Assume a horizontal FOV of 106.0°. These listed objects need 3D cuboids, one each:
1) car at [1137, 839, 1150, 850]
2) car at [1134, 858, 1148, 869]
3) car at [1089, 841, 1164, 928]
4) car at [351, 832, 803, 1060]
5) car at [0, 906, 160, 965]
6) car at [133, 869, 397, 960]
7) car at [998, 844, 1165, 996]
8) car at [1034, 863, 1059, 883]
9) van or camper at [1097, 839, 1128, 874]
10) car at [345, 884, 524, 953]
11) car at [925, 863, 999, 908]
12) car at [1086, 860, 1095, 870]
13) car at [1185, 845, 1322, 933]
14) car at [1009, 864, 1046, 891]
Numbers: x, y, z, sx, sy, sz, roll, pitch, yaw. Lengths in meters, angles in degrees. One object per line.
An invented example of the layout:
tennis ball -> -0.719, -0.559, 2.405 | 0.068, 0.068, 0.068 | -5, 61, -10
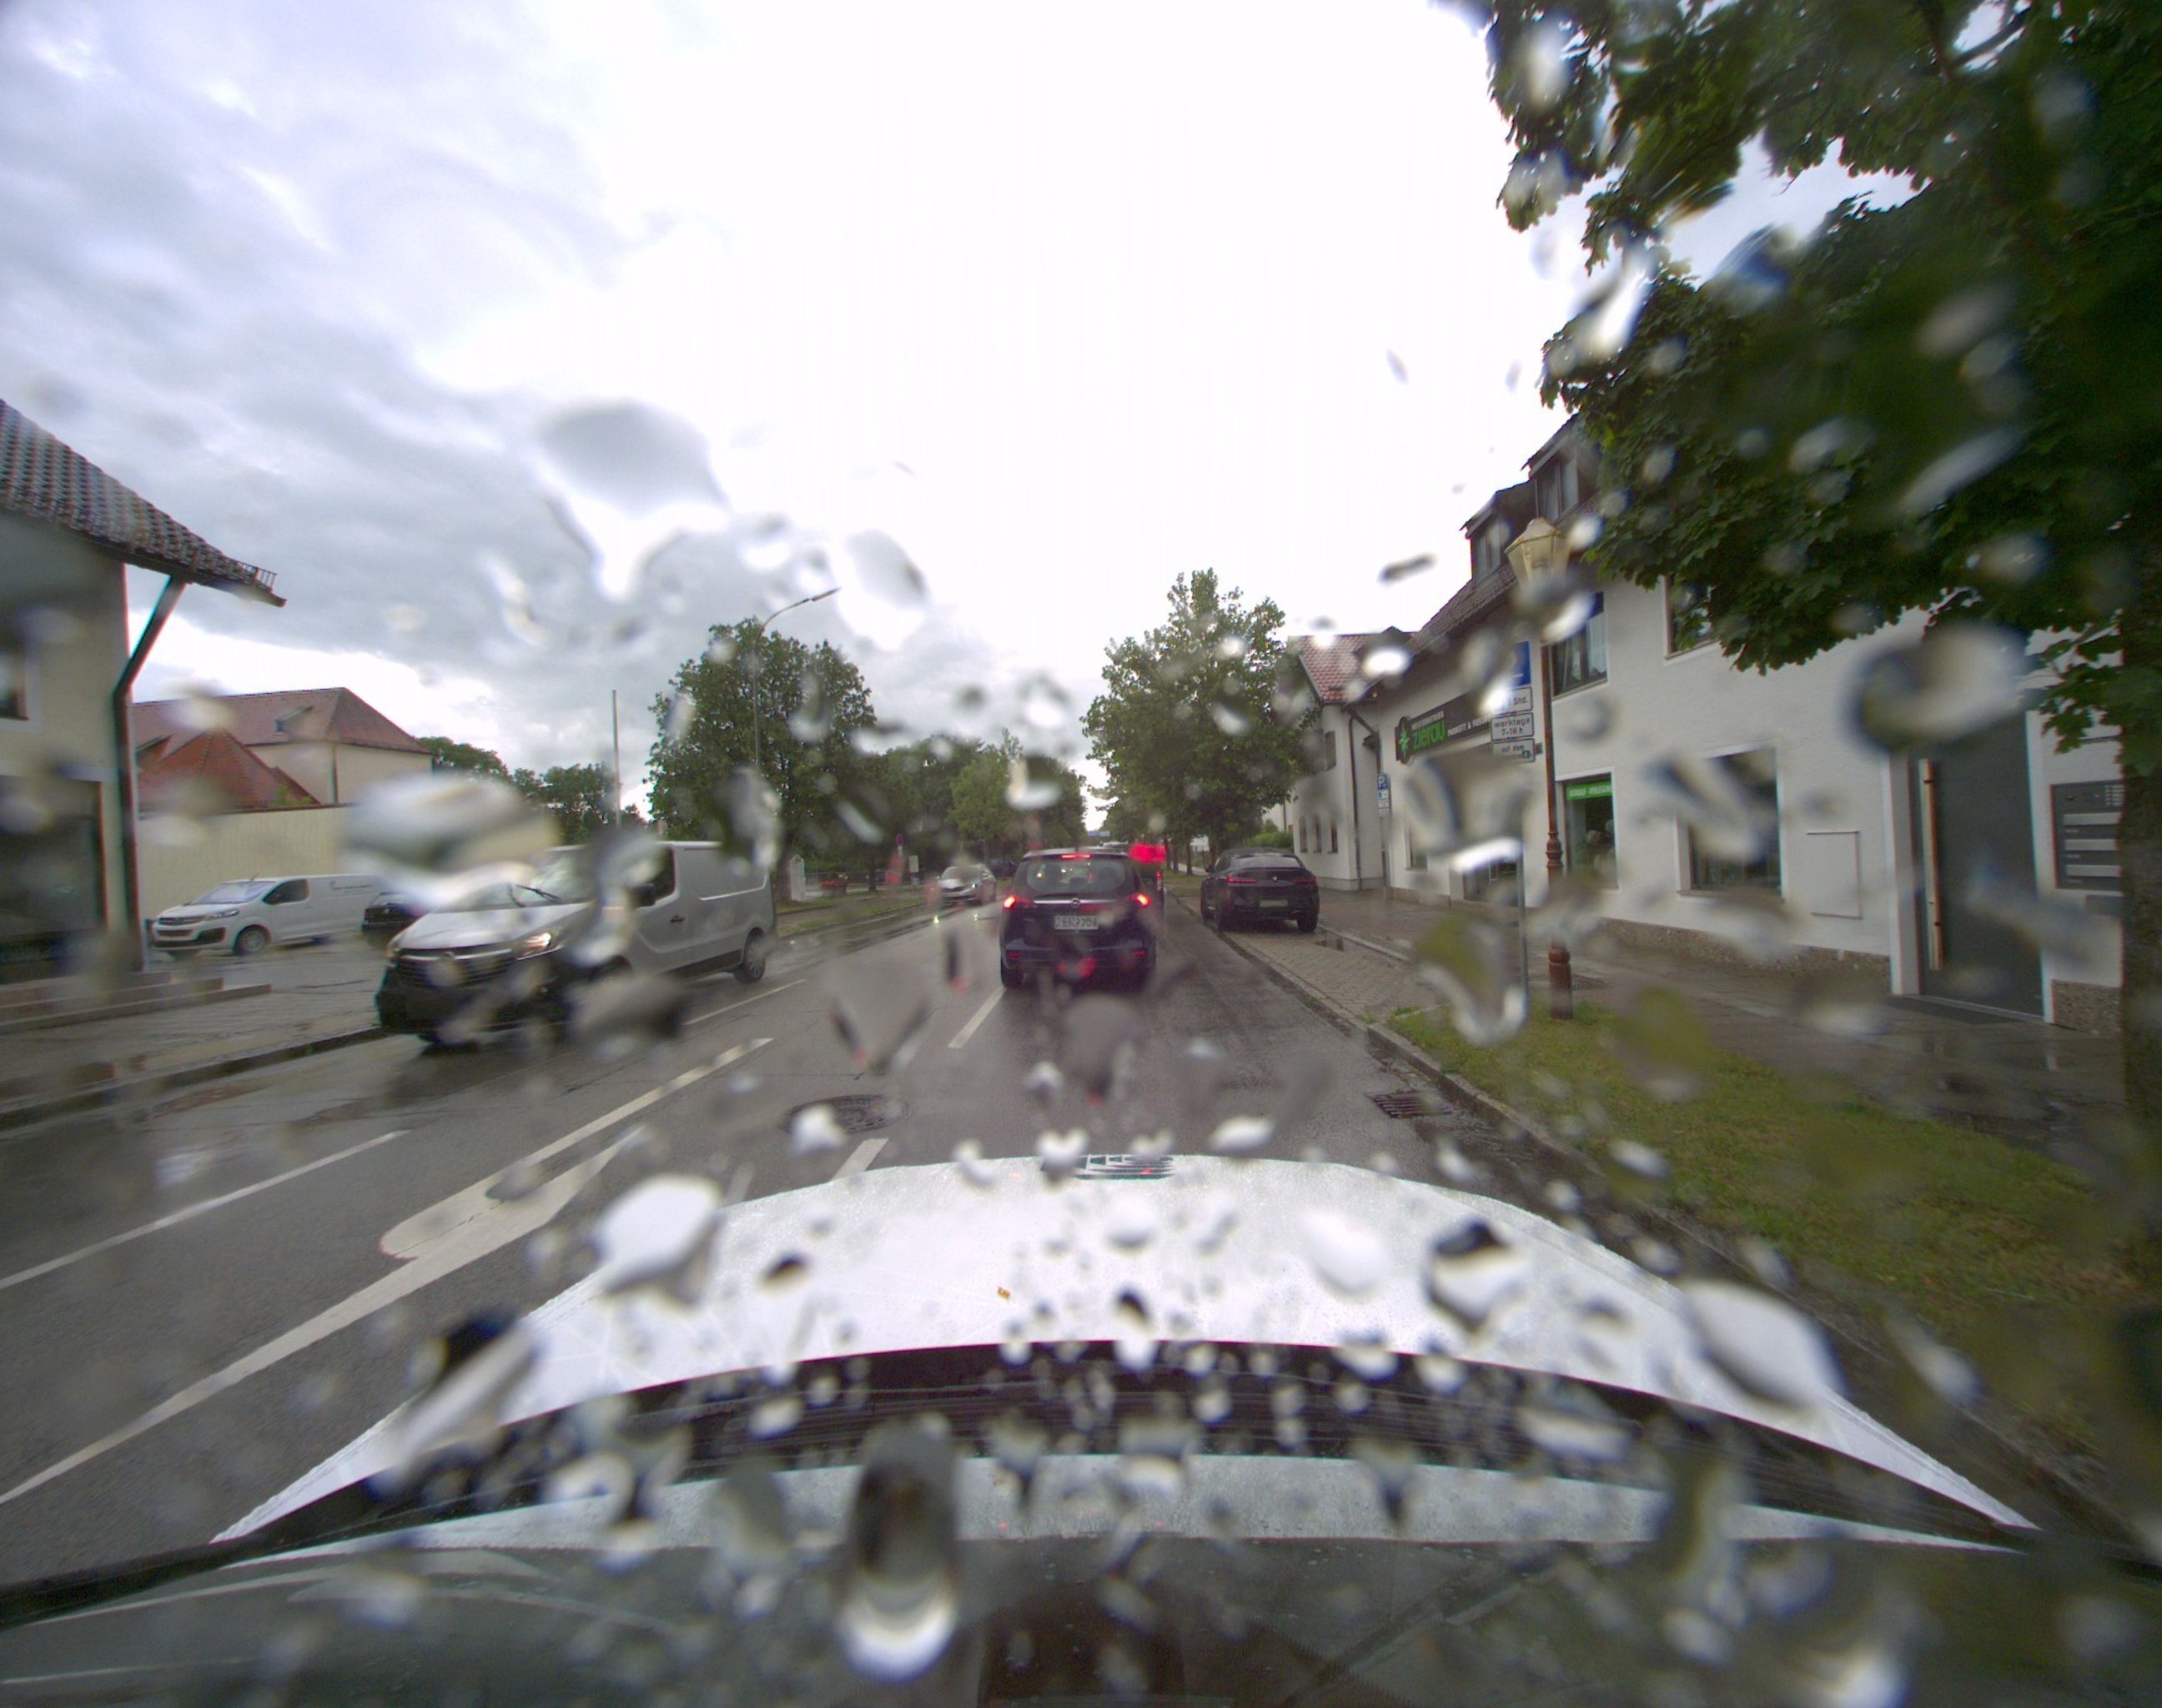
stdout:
car -> 8.741, -1.287, 114.917 | 1.624, 1.378, 3.624 | -4, -1, 2
car -> 7.721, 1.218, 105.405 | 1.623, 1.378, 3.624 | -2, -1, 2
car -> 1.009, 0.637, 18.391 | 1.494, 1.776, 3.114 | -1, 0, 2
car -> -5.396, 0.828, 9.867 | 1.808, 1.891, 5.264 | -5, 0, 4
car -> -27.845, 2.212, 22.163 | 1.509, 1.248, 3.343 | -4, 0, 8
car -> -20.995, 1.462, 21.340 | 1.957, 1.919, 4.738 | -4, 0, 2
car -> 0.082, 0.716, 10.559 | 1.762, 1.604, 3.665 | -1, 0, 2
car -> -2.623, 1.426, 62.325 | 1.467, 1.375, 3.211 | -4, 0, 4
van or camper -> 2.690, 0.222, 68.658 | 2.351, 2.665, 5.374 | -3, 0, 2
car -> -16.380, 1.583, 20.874 | 1.601, 1.380, 3.510 | -4, 0, 2
car -> -4.296, 1.107, 29.958 | 1.770, 1.375, 4.188 | -4, 0, 4
car -> 1.643, 1.919, 139.878 | 1.471, 1.623, 3.692 | -2, -1, 2
car -> 3.410, 0.665, 16.923 | 2.109, 1.581, 3.937 | -1, -1, 2
car -> -3.171, 1.366, 48.942 | 1.573, 1.375, 4.188 | -4, 0, 4
